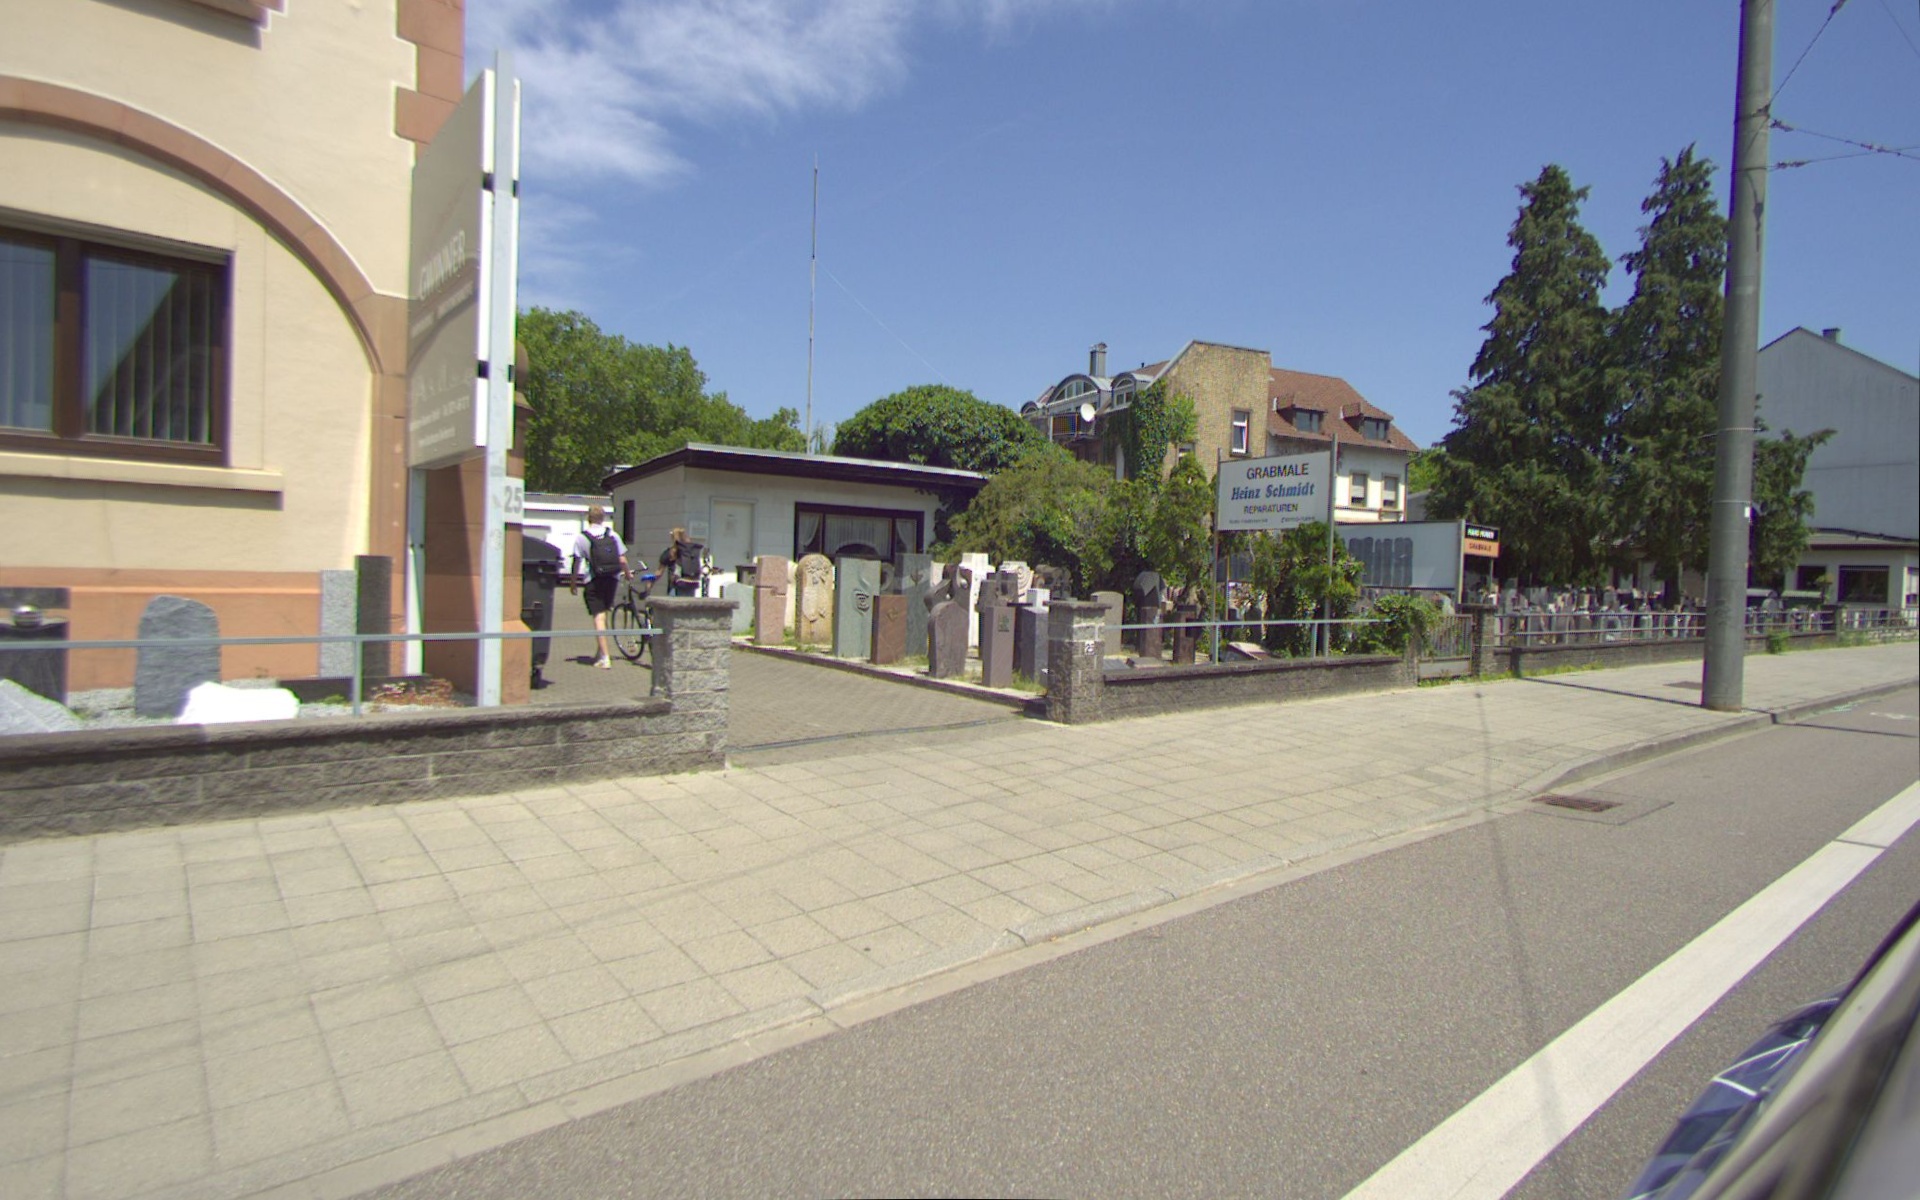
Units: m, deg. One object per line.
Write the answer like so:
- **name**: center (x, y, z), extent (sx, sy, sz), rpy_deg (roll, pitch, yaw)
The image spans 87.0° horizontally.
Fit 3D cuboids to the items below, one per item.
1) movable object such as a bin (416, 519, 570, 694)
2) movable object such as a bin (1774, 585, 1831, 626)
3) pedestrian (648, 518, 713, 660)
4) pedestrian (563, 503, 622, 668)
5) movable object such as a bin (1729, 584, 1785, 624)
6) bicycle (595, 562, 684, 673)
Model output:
- **movable object such as a bin**: center (-4.491, 0.017, 9.692), extent (1.027, 1.517, 1.333), rpy_deg (0, 3, -39)
- **movable object such as a bin**: center (32.133, 0.209, 38.591), extent (1.129, 1.499, 1.392), rpy_deg (1, 2, -36)
- **pedestrian**: center (-3.513, -0.147, 12.698), extent (0.577, 1.712, 0.828), rpy_deg (1, 1, -29)
- **pedestrian**: center (-4.165, -0.169, 11.452), extent (0.493, 1.794, 0.691), rpy_deg (1, 1, -29)
- **movable object such as a bin**: center (31.403, 0.145, 39.872), extent (1.129, 1.499, 1.393), rpy_deg (1, 2, -33)
- **bicycle**: center (-3.739, 0.162, 11.717), extent (0.578, 1.141, 1.810), rpy_deg (1, 3, -30)
